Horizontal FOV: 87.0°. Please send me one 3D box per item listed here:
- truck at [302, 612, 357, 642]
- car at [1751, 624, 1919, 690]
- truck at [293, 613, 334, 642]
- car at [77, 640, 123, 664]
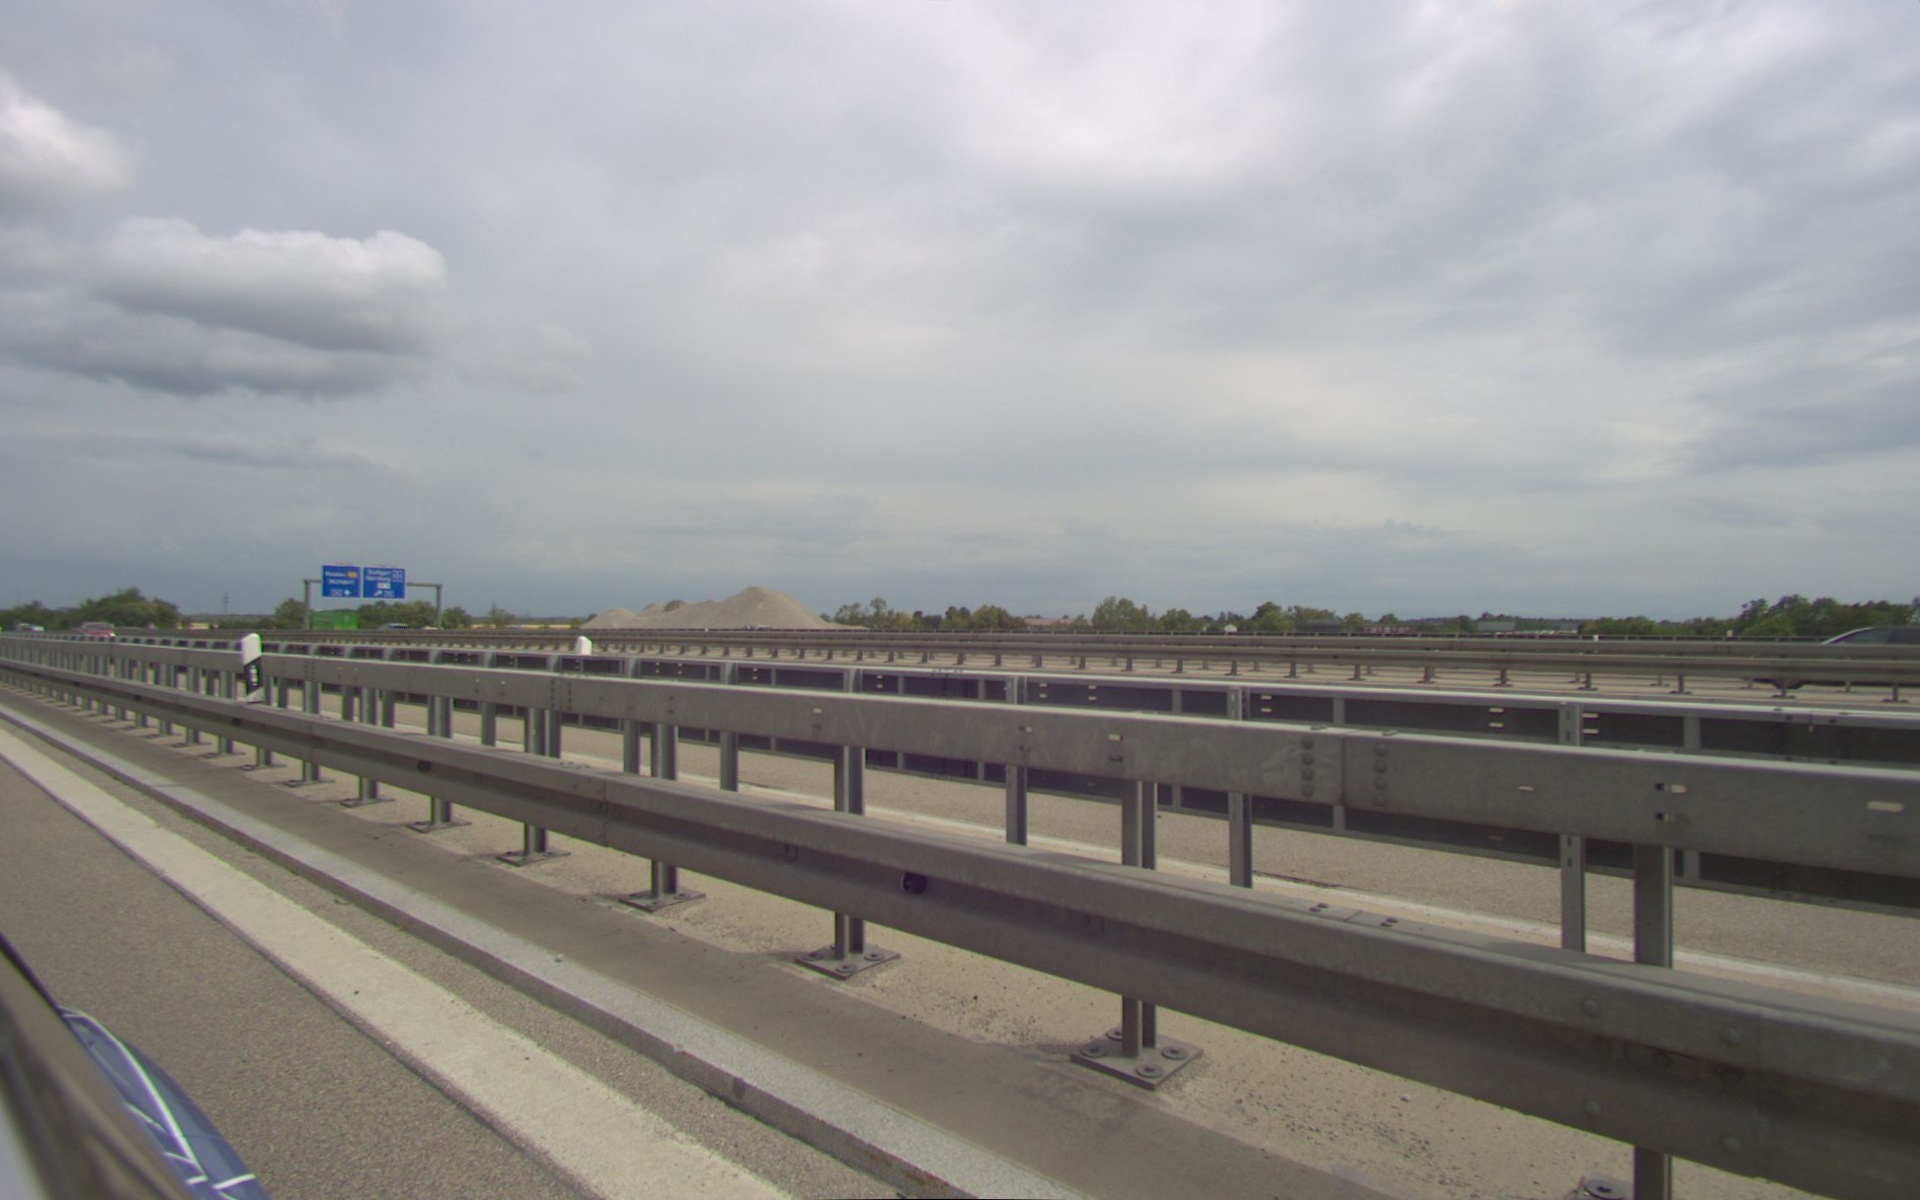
[{"bbox_3d":[-81.239,3.518,130.291,10.431,3.662,2.982,-2,-1,41],"label":"truck"},{"bbox_3d":[19.653,1.201,21.833,3.997,1.337,1.697,-1,-1,41],"label":"car"},{"bbox_3d":[-85.845,3.664,134.329,5.891,3.636,3.010,-2,-1,41],"label":"truck"},{"bbox_3d":[-61.821,3.707,72.739,4.351,1.557,1.801,-2,-1,40],"label":"car"}]
